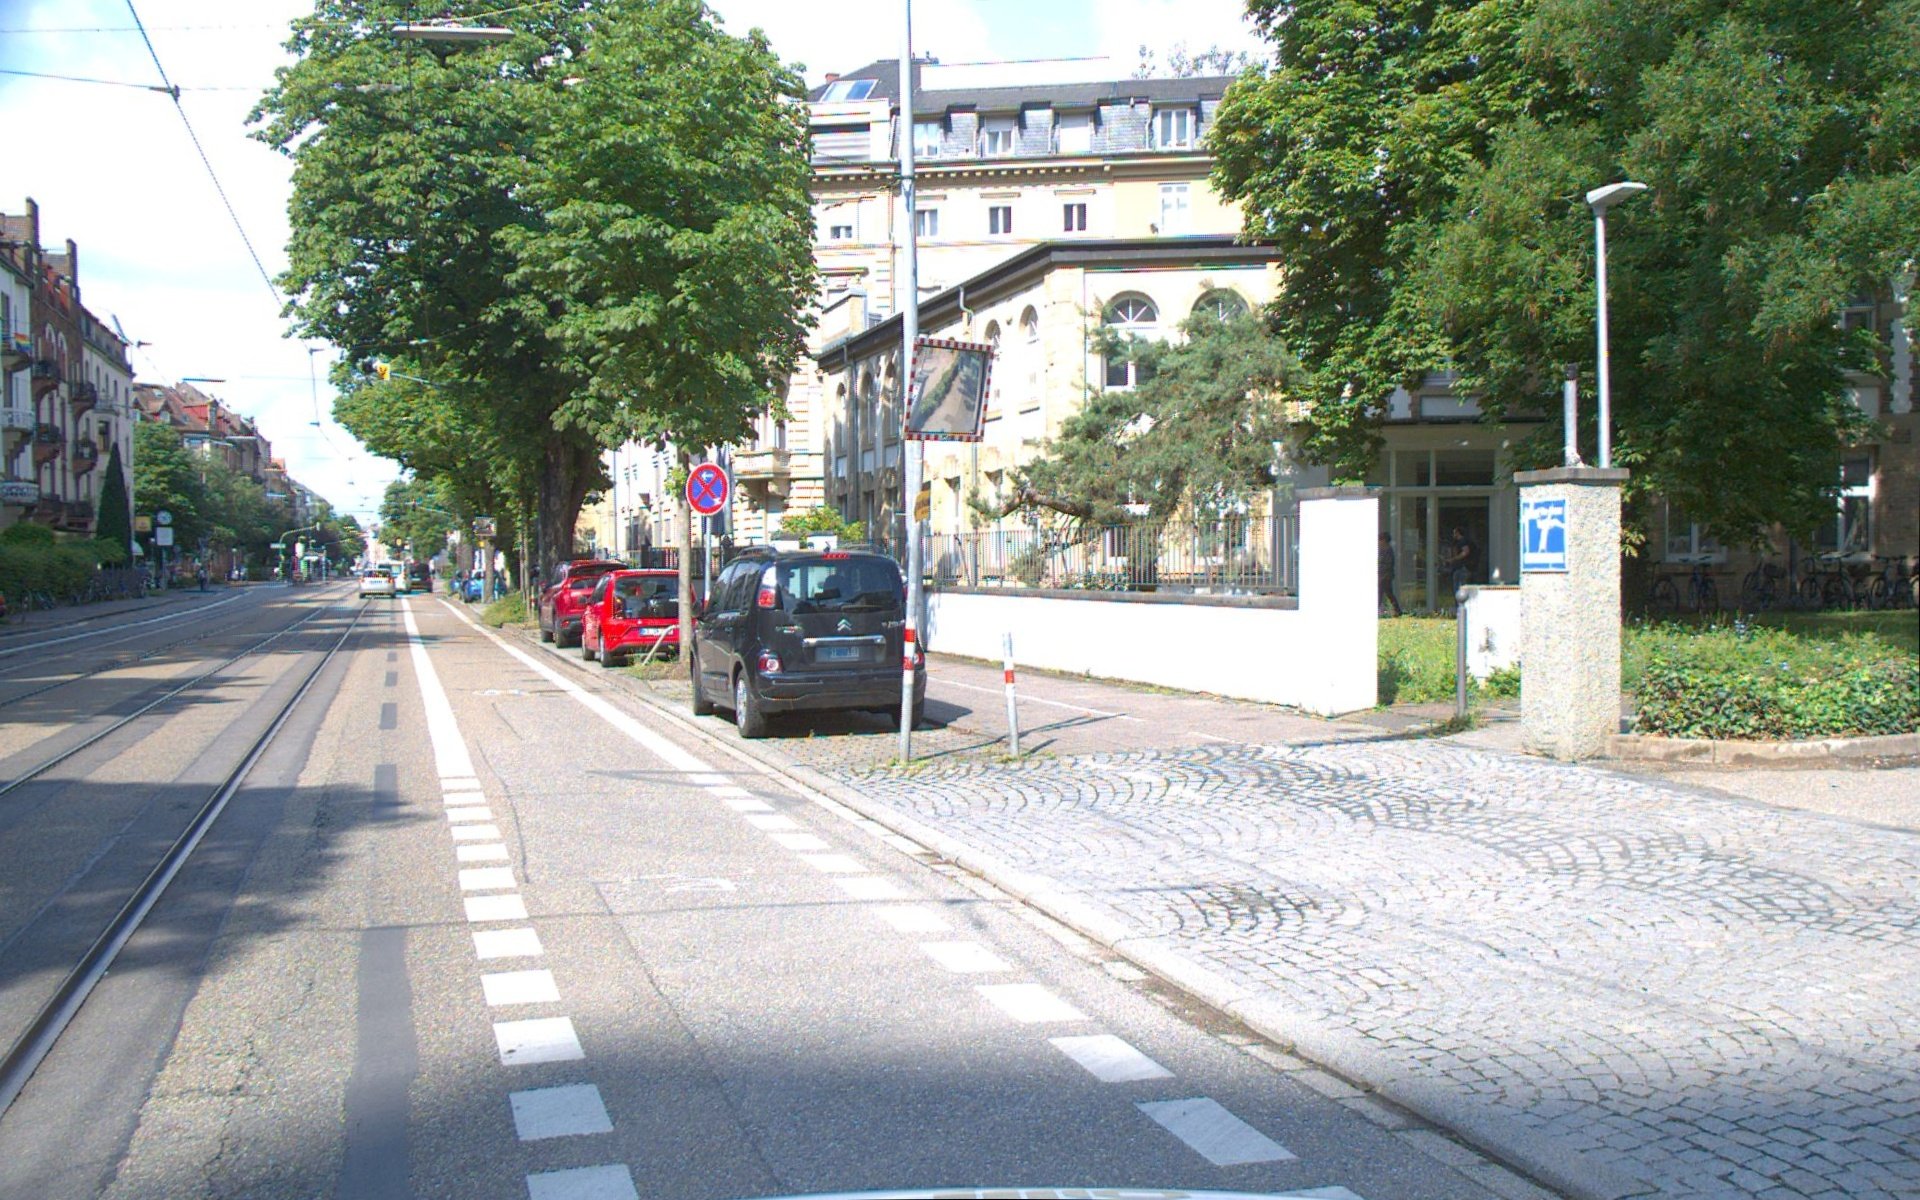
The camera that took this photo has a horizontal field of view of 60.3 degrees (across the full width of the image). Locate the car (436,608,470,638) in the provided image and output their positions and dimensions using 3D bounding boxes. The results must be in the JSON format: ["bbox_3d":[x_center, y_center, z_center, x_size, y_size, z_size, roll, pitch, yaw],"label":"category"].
[{"bbox_3d":[-27.864,1.273,90.913,1.597,1.543,3.545,3,-1,-19],"label":"car"}]

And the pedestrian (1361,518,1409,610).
[{"bbox_3d":[8.226,-0.690,32.024,0.754,1.707,0.809,2,-1,7],"label":"pedestrian"}]

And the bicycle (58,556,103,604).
[{"bbox_3d":[-34.588,-0.772,65.092,0.922,1.777,2.276,3,-1,-13],"label":"bicycle"}]

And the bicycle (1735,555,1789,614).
[{"bbox_3d":[15.705,-0.287,32.423,0.409,1.075,2.068,-2,-2,12],"label":"bicycle"}]

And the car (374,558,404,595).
[{"bbox_3d":[-33.736,-1.349,97.755,1.597,2.035,3.545,3,-1,-19],"label":"car"}]

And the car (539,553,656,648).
[{"bbox_3d":[-7.396,0.020,33.490,1.929,1.736,3.980,3,-1,-17],"label":"car"}]

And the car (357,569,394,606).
[{"bbox_3d":[-28.775,-0.619,81.522,1.597,1.713,3.545,3,-1,-19],"label":"car"}]

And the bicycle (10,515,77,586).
[{"bbox_3d":[-32.936,-1.725,59.502,0.922,2.359,3.986,2,-1,-13],"label":"bicycle"}]

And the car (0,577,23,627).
[{"bbox_3d":[-27.531,-0.020,44.405,1.603,1.329,3.777,2,-1,32],"label":"car"}]

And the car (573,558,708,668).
[{"bbox_3d":[-5.205,0.161,26.687,1.649,1.639,3.565,-1,1,-19],"label":"car"}]

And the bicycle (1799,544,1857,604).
[{"bbox_3d":[16.739,-0.479,31.918,0.409,1.075,2.068,-2,-2,12],"label":"bicycle"}]

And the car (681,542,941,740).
[{"bbox_3d":[-1.522,0.304,15.680,1.649,1.639,3.565,0,1,-19],"label":"car"}]

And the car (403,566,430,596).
[{"bbox_3d":[-36.012,-1.264,109.555,1.597,1.881,3.545,3,-1,-19],"label":"car"}]

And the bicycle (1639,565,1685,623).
[{"bbox_3d":[13.854,-0.105,32.690,0.409,1.075,2.068,-2,-2,12],"label":"bicycle"}]

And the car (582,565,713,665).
[{"bbox_3d":[-5.081,0.234,26.627,1.642,1.512,3.262,0,0,-19],"label":"car"}]

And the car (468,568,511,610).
[{"bbox_3d":[-20.836,-0.463,73.211,1.597,1.713,3.545,3,-1,-19],"label":"car"}]

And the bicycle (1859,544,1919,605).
[{"bbox_3d":[17.925,-0.474,31.928,0.409,1.075,2.068,-2,-2,12],"label":"bicycle"}]

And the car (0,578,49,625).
[{"bbox_3d":[-28.626,-0.011,47.722,1.603,1.329,3.777,2,-1,32],"label":"car"}]

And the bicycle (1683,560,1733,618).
[{"bbox_3d":[14.668,-0.200,32.458,0.409,1.075,2.068,-2,-2,12],"label":"bicycle"}]

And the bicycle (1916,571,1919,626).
[{"bbox_3d":[18.722,-0.060,31.320,0.409,1.075,2.068,-2,-2,12],"label":"bicycle"}]
